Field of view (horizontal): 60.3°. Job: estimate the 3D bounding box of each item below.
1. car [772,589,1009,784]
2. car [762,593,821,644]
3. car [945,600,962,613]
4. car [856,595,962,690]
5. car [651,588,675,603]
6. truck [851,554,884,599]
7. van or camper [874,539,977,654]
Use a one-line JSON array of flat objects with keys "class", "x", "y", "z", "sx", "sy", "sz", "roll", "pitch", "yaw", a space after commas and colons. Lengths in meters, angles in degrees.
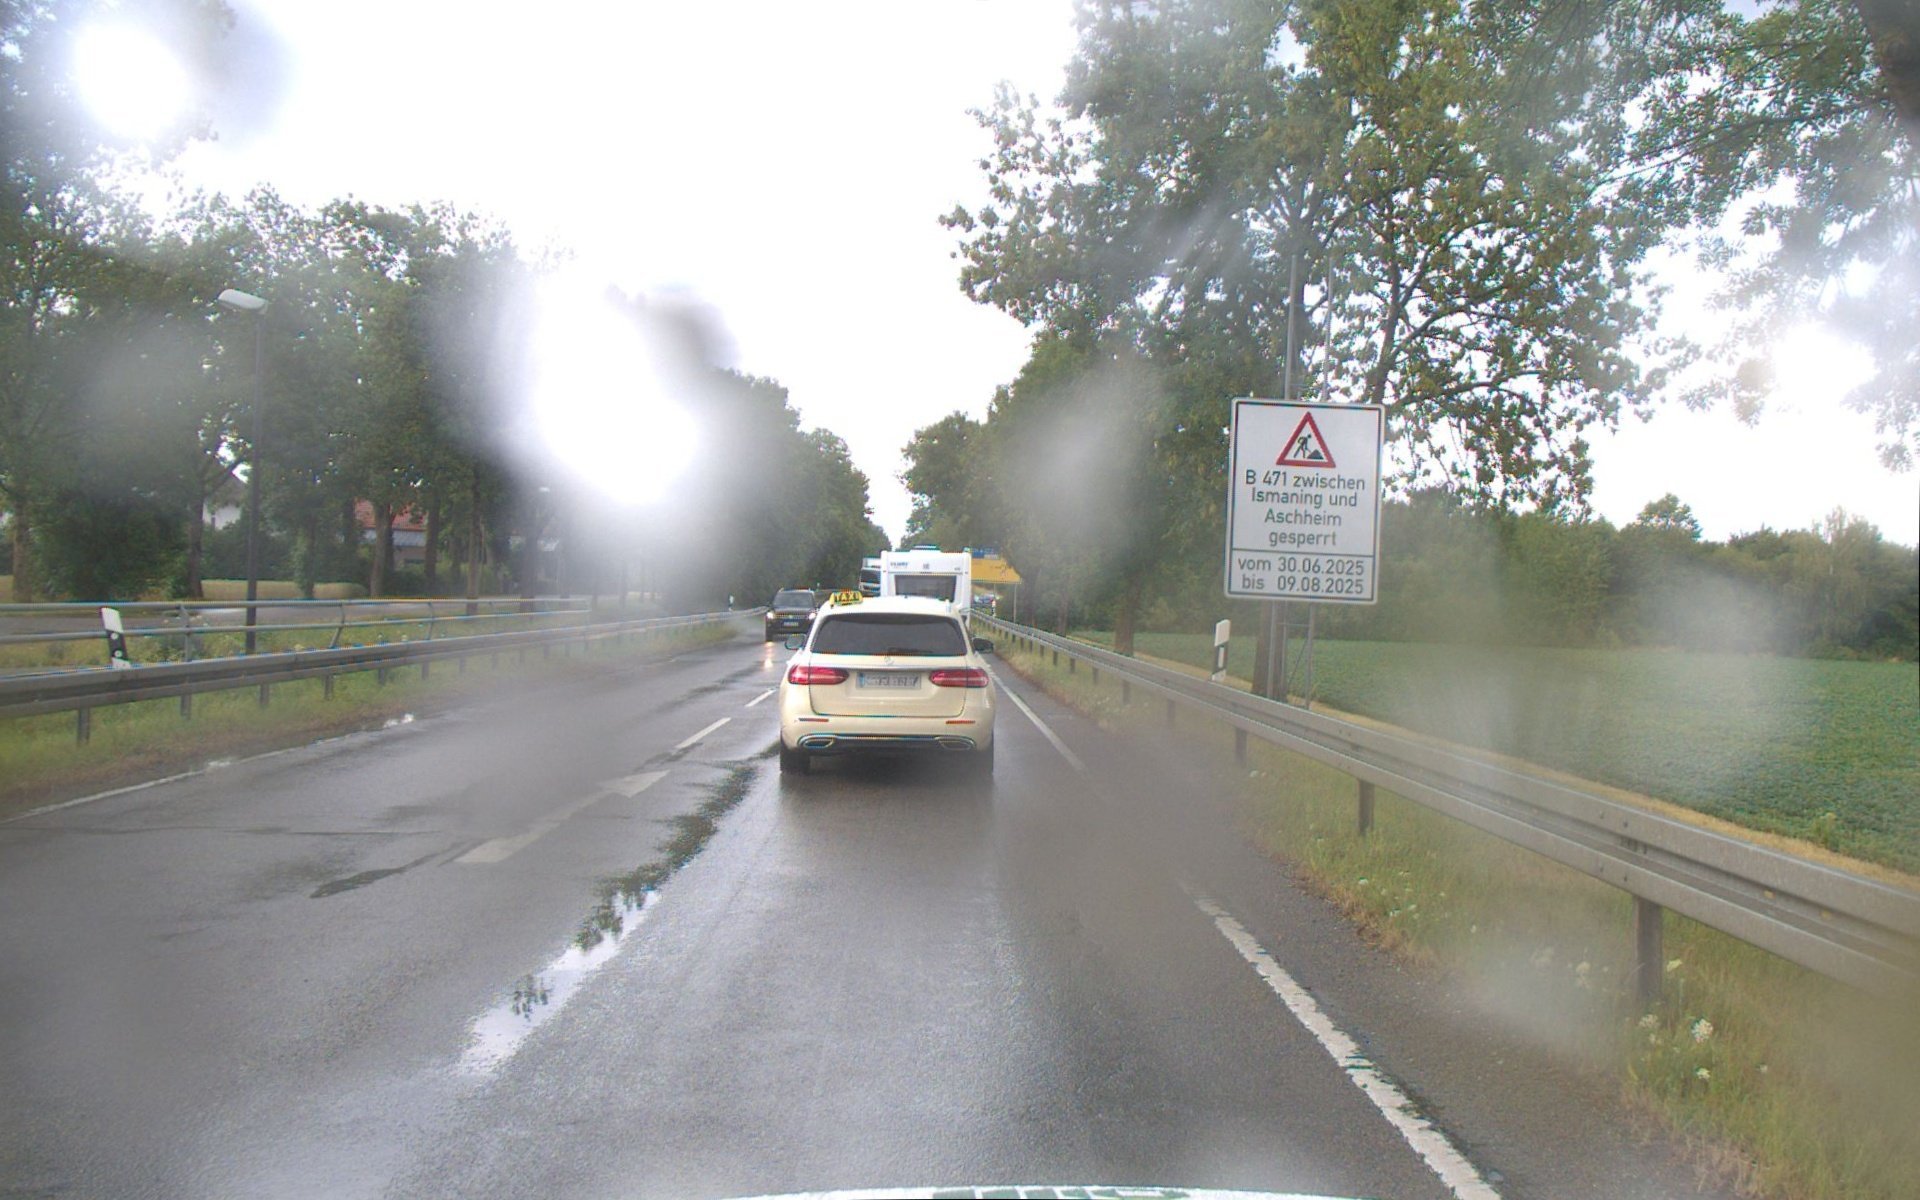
[{"class": "car", "x": -0.548, "y": 0.661, "z": 14.829, "sx": 1.827, "sy": 1.502, "sz": 4.000, "roll": 0, "pitch": 0, "yaw": 0}, {"class": "car", "x": -5.749, "y": 0.599, "z": 56.775, "sx": 1.728, "sy": 1.647, "sz": 3.999, "roll": 0, "pitch": 0, "yaw": -2}, {"class": "car", "x": -0.617, "y": 0.587, "z": 148.598, "sx": 1.520, "sy": 1.138, "sz": 3.999, "roll": 1, "pitch": 0, "yaw": 0}, {"class": "car", "x": -0.798, "y": 0.659, "z": 27.741, "sx": 1.630, "sy": 1.456, "sz": 4.000, "roll": 0, "pitch": 0, "yaw": 0}, {"class": "car", "x": -30.237, "y": -0.475, "z": 168.568, "sx": 1.749, "sy": 1.440, "sz": 4.000, "roll": 2, "pitch": 0, "yaw": 0}, {"class": "truck", "x": -7.491, "y": -1.866, "z": 135.239, "sx": 2.524, "sy": 3.512, "sz": 9.551, "roll": 0, "pitch": 0, "yaw": -2}, {"class": "van or camper", "x": -0.842, "y": -0.106, "z": 42.899, "sx": 2.438, "sy": 2.732, "sz": 5.700, "roll": 1, "pitch": 0, "yaw": 0}]
